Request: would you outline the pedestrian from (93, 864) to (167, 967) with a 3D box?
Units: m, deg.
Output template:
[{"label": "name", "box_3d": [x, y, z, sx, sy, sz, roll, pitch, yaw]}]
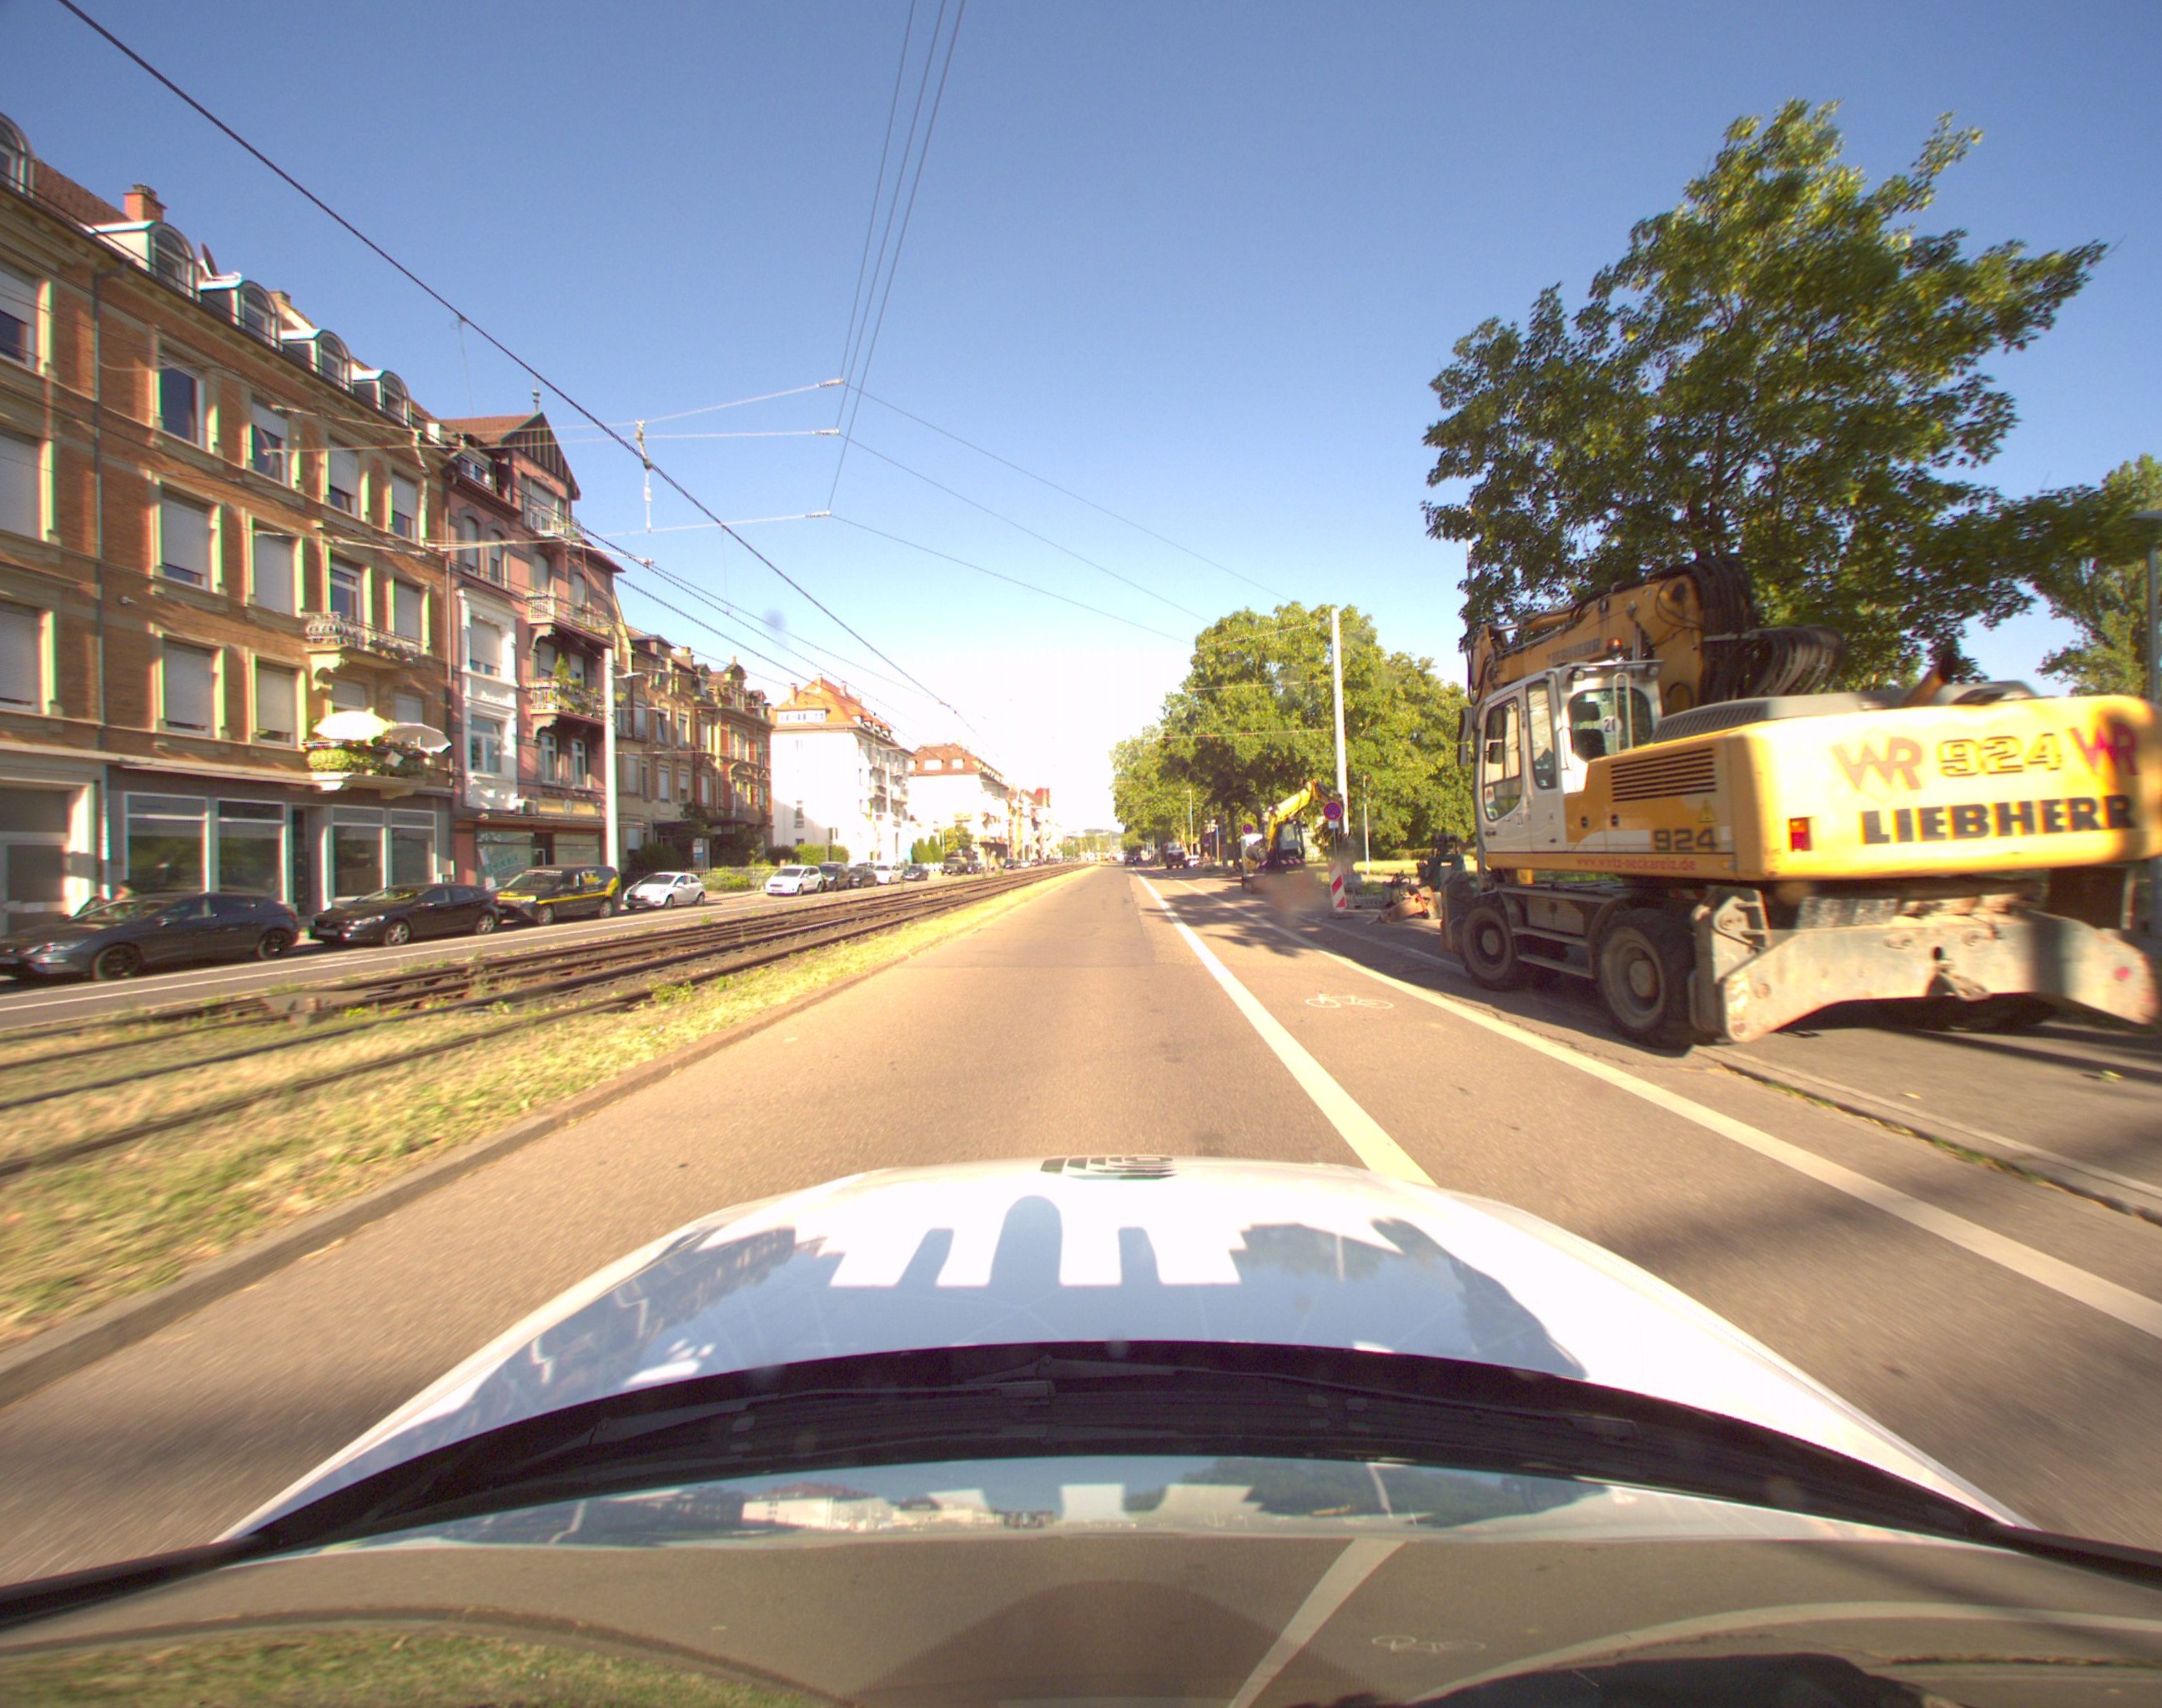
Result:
[{"label": "pedestrian", "box_3d": [-19.174, 1.206, 16.440, 0.637, 2.014, 0.870, 1, -1, -27]}]

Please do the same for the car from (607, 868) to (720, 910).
[{"label": "car", "box_3d": [-17.271, 1.411, 33.978, 1.911, 1.538, 4.636, -1, 0, 6]}]

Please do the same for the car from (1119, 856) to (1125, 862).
[{"label": "car", "box_3d": [12.188, 1.494, 243.376, 1.787, 1.510, 4.002, 0, -1, 2]}]

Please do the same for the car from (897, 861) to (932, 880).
[{"label": "car", "box_3d": [-14.786, 1.432, 72.559, 1.914, 1.461, 4.843, 3, 0, 1]}]

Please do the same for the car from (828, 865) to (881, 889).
[{"label": "car", "box_3d": [-15.714, 1.563, 56.774, 1.911, 1.561, 4.849, 0, 0, 5]}]

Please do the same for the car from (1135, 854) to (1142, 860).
[{"label": "car", "box_3d": [14.706, 0.676, 209.199, 1.787, 1.510, 4.002, -1, 0, 2]}]

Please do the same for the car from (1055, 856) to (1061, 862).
[{"label": "car", "box_3d": [-6.712, 1.448, 239.961, 1.789, 1.510, 3.997, 1, 0, -2]}]

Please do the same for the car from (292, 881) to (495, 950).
[{"label": "car", "box_3d": [-17.274, 1.490, 20.754, 1.653, 1.446, 3.984, 0, 0, 3]}]

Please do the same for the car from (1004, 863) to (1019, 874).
[{"label": "car", "box_3d": [-11.476, 2.431, 134.934, 1.855, 1.786, 4.404, 0, 0, 2]}]

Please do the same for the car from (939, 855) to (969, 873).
[{"label": "car", "box_3d": [-14.250, 1.095, 92.023, 2.067, 2.010, 5.599, 0, 0, 5]}]

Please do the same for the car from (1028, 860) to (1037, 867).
[{"label": "car", "box_3d": [-10.293, 1.969, 173.260, 1.828, 1.391, 4.032, 1, 0, -2]}]

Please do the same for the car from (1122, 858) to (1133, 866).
[{"label": "car", "box_3d": [7.813, 1.368, 137.710, 1.826, 1.391, 4.161, -1, 0, 2]}]

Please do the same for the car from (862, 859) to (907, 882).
[{"label": "car", "box_3d": [-15.274, 1.252, 63.496, 1.911, 1.694, 4.849, 0, 0, 5]}]

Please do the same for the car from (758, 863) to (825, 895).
[{"label": "car", "box_3d": [-16.431, 1.398, 46.447, 1.912, 1.683, 4.631, 0, 0, 3]}]

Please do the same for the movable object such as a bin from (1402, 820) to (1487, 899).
[{"label": "movable object such as a bin", "box_3d": [8.635, 0.131, 19.428, 1.311, 1.668, 1.305, -8, -1, 6]}]

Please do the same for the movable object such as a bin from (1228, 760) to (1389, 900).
[{"label": "movable object such as a bin", "box_3d": [7.584, -0.731, 28.466, 3.327, 3.976, 7.600, -5, 0, 1]}]

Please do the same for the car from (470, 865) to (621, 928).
[{"label": "car", "box_3d": [-17.182, 1.300, 26.477, 1.653, 1.807, 4.731, 0, 0, 2]}]

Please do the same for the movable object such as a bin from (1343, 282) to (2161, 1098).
[{"label": "movable object such as a bin", "box_3d": [5.560, -0.983, 8.594, 2.904, 4.610, 7.600, -5, 0, 1]}]

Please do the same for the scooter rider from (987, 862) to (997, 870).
[{"label": "scooter rider", "box_3d": [-12.139, 1.636, 110.776, 0.966, 1.089, 0.813, -3, 0, 34]}]

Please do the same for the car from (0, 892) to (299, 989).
[{"label": "car", "box_3d": [-17.832, 1.539, 15.648, 1.653, 1.446, 3.984, 0, 0, 3]}]

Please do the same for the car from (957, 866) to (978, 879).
[{"label": "car", "box_3d": [-13.640, 2.254, 98.227, 1.627, 1.507, 4.164, -1, -1, 5]}]

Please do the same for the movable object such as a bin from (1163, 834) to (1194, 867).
[{"label": "movable object such as a bin", "box_3d": [10.416, -0.368, 87.922, 2.732, 3.145, 7.227, -5, 0, 4]}]

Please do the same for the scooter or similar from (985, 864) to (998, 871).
[{"label": "scooter or similar", "box_3d": [-12.166, 1.833, 110.795, 1.549, 0.770, 0.813, -3, 0, 34]}]

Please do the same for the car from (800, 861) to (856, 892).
[{"label": "car", "box_3d": [-15.987, 1.385, 51.703, 1.913, 1.780, 4.501, 0, 0, 2]}]
